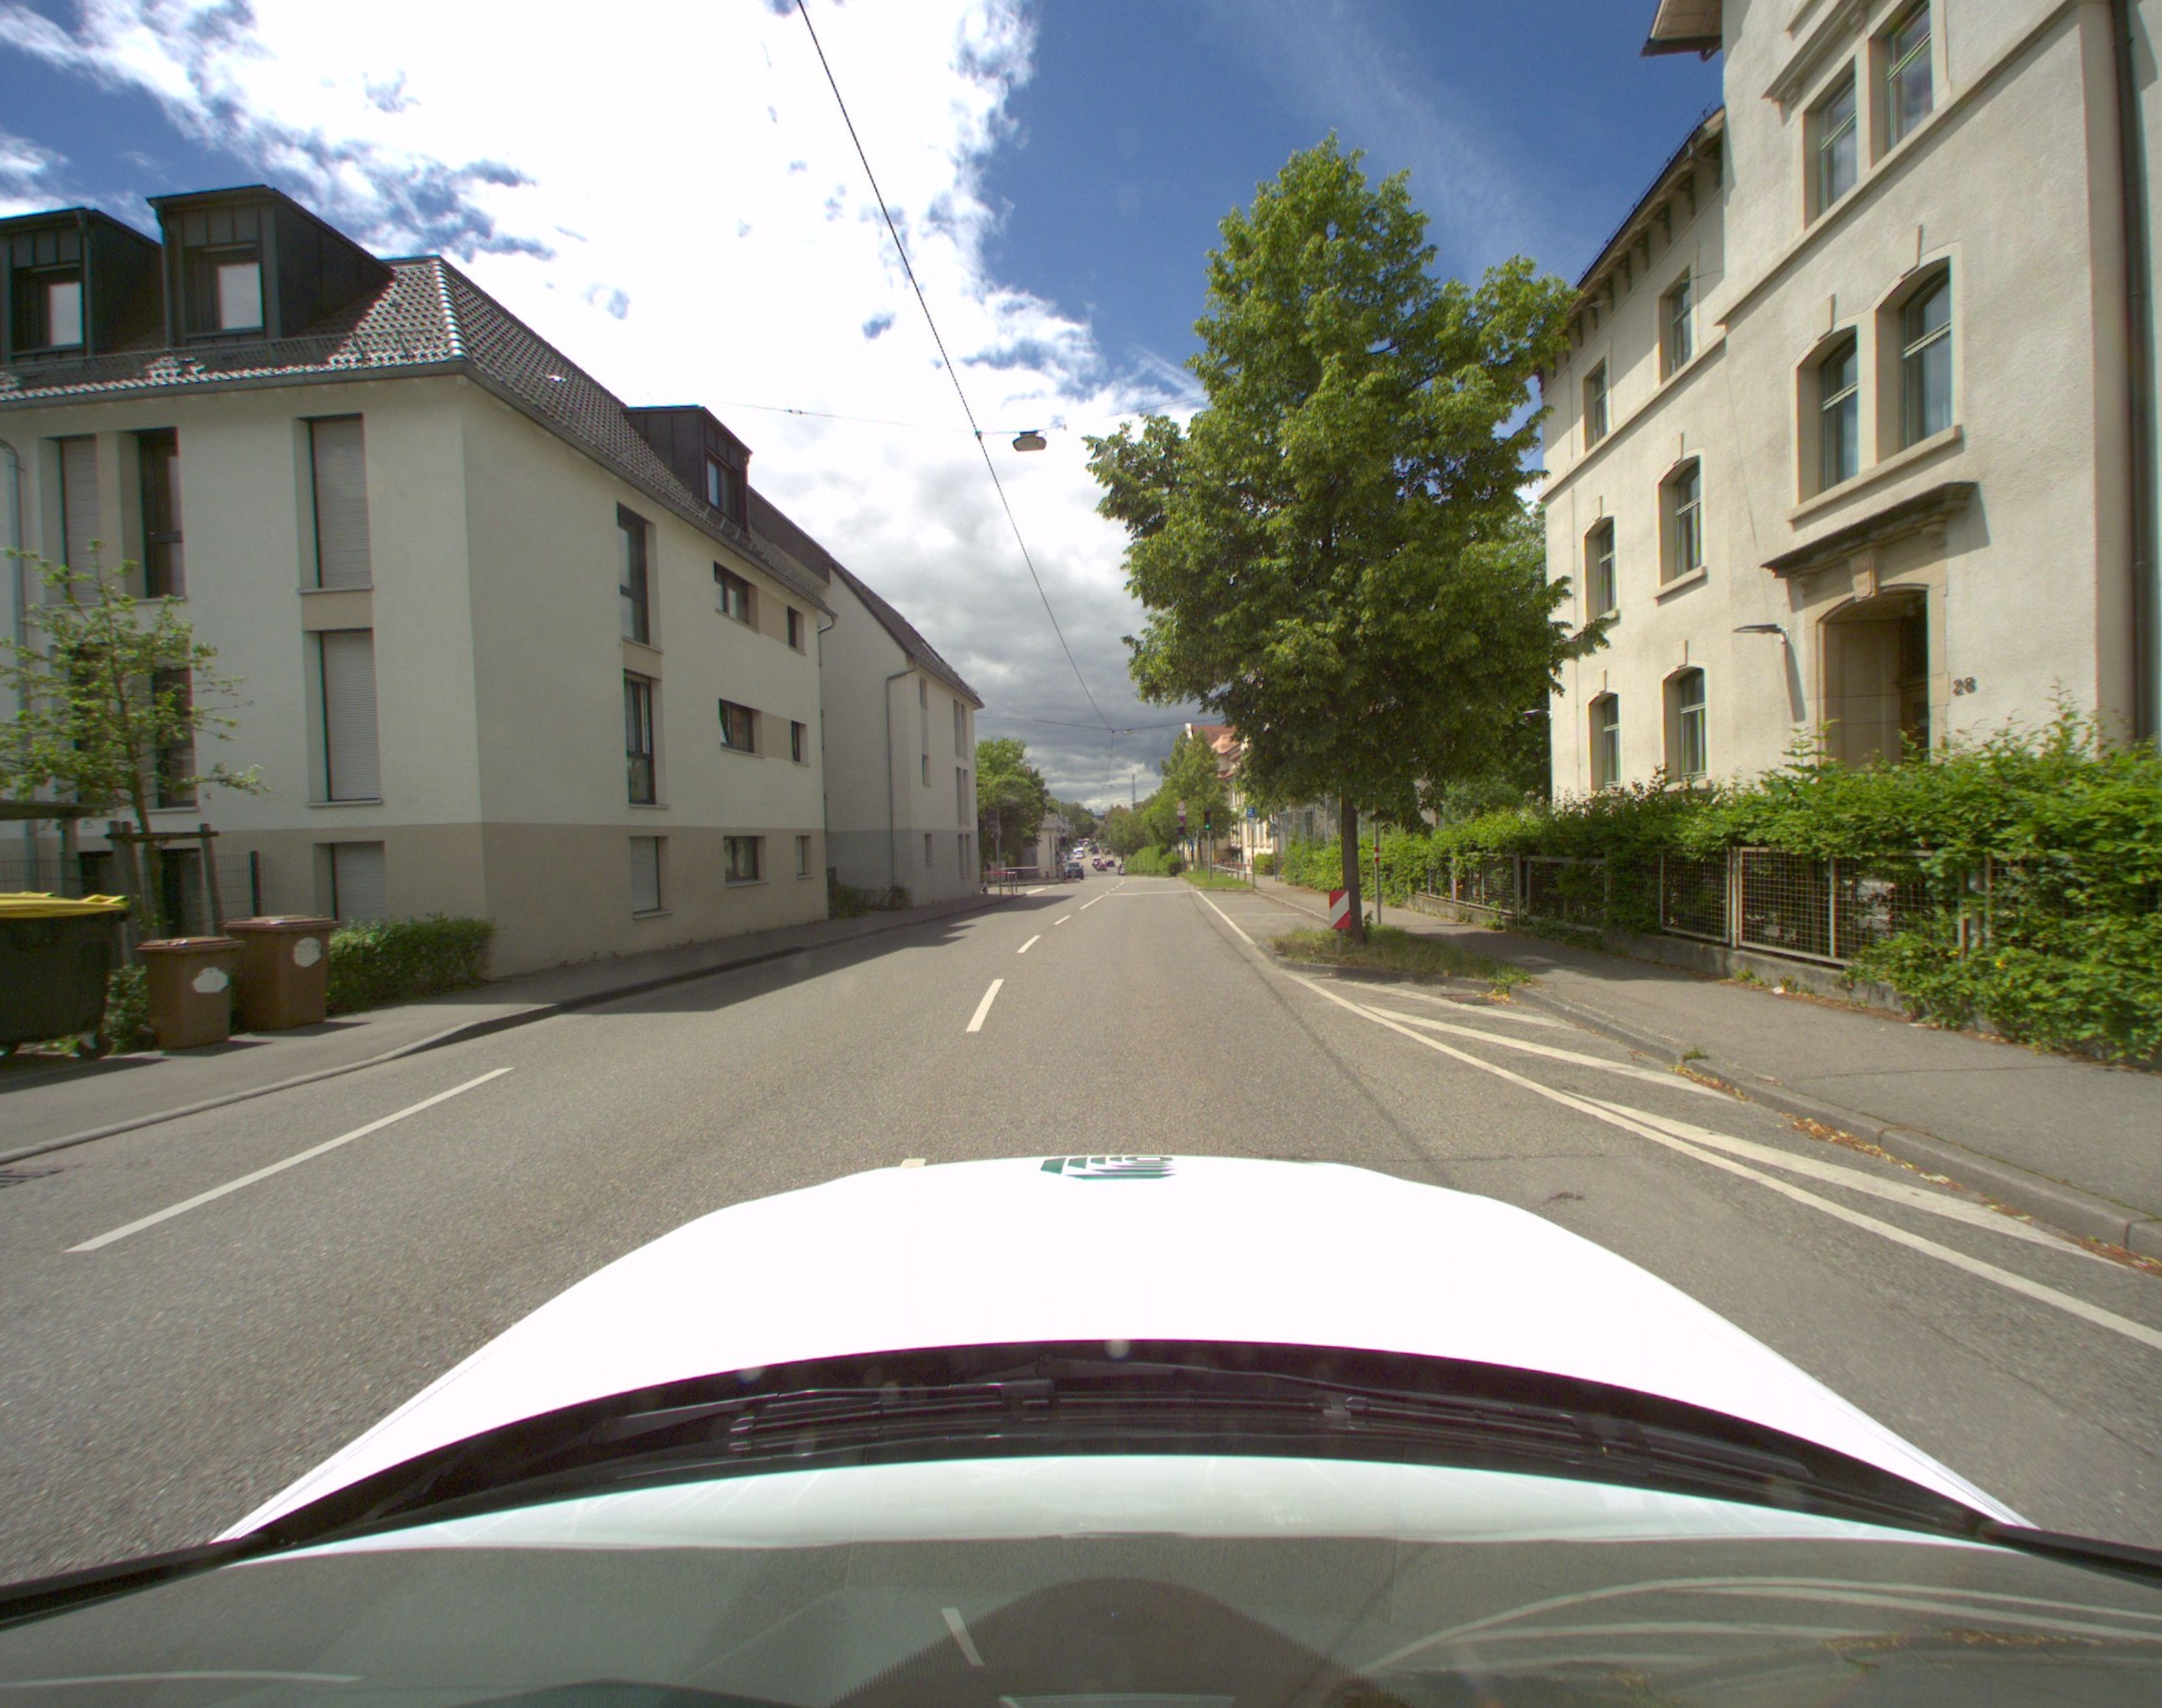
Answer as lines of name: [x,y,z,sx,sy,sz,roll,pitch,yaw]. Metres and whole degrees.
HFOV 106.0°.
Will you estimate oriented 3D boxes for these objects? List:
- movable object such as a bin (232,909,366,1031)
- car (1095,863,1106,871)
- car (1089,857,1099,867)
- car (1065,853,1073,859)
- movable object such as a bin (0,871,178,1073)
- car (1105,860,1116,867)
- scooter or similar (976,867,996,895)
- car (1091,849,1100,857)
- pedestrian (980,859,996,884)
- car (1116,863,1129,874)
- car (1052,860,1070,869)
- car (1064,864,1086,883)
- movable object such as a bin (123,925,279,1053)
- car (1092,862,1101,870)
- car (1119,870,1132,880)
movable object such as a bin: [-7.574,1.099,7.912,0.638,1.075,0.661,-2,-1,2]
car: [3.836,2.527,159.544,1.739,1.417,3.997,5,-1,-1]
car: [2.812,1.732,178.646,1.833,1.861,3.844,-1,1,-5]
car: [-3.249,0.580,217.020,1.865,1.640,4.002,-1,-1,2]
movable object such as a bin: [-8.528,0.892,6.487,1.330,1.446,1.171,-2,-1,1]
car: [6.341,1.978,175.216,1.750,1.371,3.994,-2,1,-4]
scooter or similar: [-4.446,1.276,37.966,0.492,1.261,1.296,-2,-1,-25]
car: [4.614,-0.268,259.436,2.429,2.318,5.325,-1,-1,0]
pedestrian: [-5.870,1.098,51.430,0.775,1.597,0.666,-1,-1,-28]
car: [6.890,2.419,134.683,1.838,1.768,4.514,-1,-1,0]
car: [-4.752,2.484,195.119,3.985,2.014,1.994,0,-1,-9]
car: [-0.498,1.692,72.206,1.788,1.610,4.647,-2,0,2]
movable object such as a bin: [-7.723,1.165,7.172,0.637,1.000,0.658,-2,-1,4]
car: [3.215,2.472,169.548,1.272,1.527,3.044,-2,2,-7]
car: [7.060,3.368,128.734,1.780,1.509,4.363,-1,-1,0]
